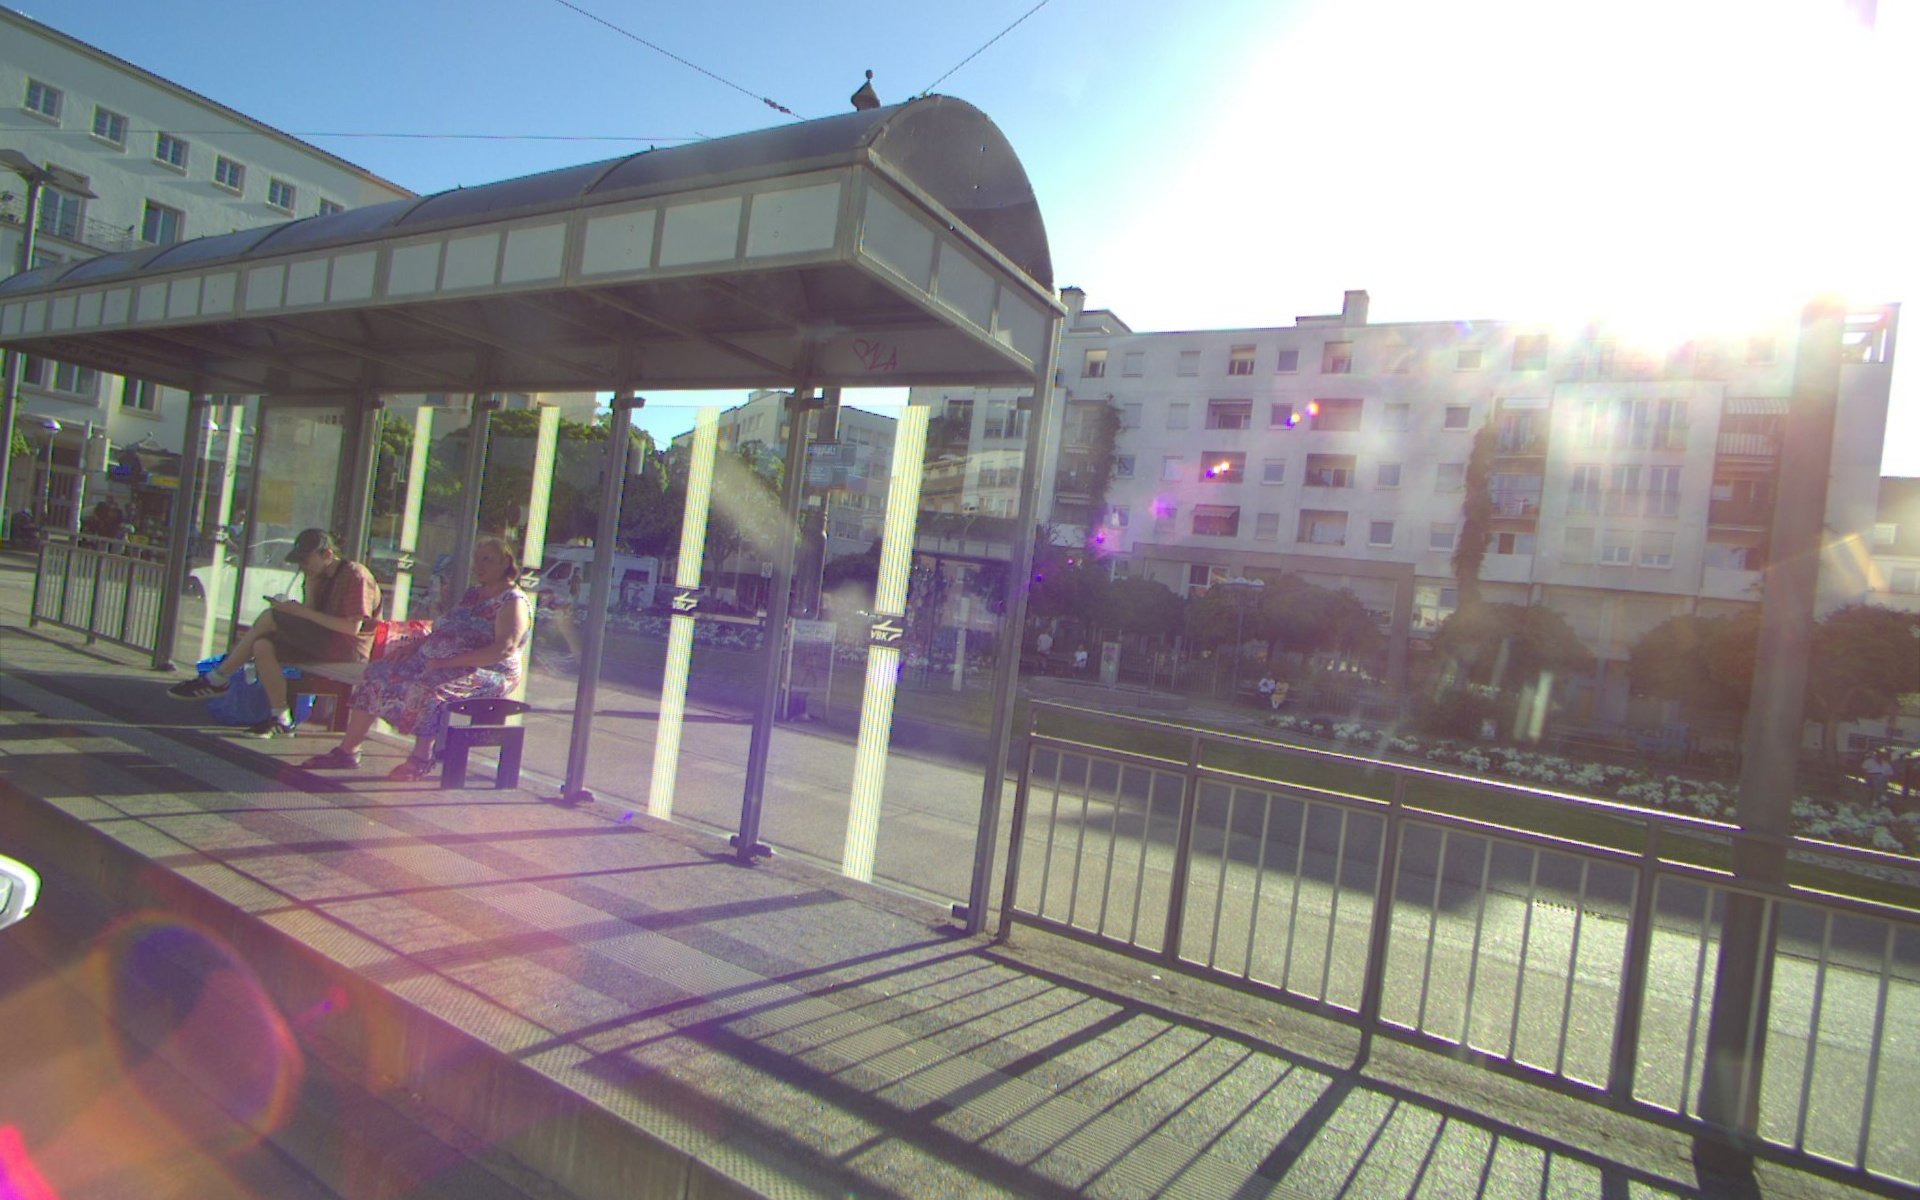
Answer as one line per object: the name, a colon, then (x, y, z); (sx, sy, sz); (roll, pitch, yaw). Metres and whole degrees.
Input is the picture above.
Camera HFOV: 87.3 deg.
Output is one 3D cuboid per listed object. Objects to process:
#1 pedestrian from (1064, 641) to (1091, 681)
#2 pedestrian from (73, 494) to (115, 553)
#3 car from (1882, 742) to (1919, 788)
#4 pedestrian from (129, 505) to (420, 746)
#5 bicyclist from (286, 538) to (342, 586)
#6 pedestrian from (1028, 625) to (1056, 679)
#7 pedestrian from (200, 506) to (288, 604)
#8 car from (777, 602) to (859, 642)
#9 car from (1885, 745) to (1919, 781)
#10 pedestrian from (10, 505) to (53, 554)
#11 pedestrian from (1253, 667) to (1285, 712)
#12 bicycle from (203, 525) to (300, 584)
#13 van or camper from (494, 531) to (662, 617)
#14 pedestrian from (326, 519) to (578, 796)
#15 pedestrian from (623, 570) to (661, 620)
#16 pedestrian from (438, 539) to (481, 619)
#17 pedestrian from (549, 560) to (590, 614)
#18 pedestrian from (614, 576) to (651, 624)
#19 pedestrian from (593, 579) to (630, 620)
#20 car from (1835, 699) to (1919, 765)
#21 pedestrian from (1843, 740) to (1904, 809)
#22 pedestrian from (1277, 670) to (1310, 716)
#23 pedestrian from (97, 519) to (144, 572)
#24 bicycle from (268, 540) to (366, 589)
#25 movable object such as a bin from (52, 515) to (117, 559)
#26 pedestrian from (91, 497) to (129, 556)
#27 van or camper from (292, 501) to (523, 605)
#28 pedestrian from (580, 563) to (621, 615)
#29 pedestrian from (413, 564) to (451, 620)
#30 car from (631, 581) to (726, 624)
pedestrian: (4.071, 2.102, 34.861); (0.718, 1.287, 1.042); (7, 0, 11)
pedestrian: (-29.456, -2.603, 34.213); (0.667, 1.861, 0.785); (7, 0, 35)
car: (36.593, 6.312, 36.797); (3.941, 1.535, 1.993); (7, -1, 38)
pedestrian: (-4.059, 0.171, 6.004); (0.908, 1.238, 1.001); (6, -4, 32)
bicyclist: (-19.199, -1.121, 29.909); (0.937, 1.239, 0.933); (7, -2, 29)
pedestrian: (2.824, 1.778, 34.631); (0.661, 1.745, 1.028); (7, 0, 11)
pedestrian: (-15.189, -0.946, 21.339); (1.110, 1.900, 0.983); (6, -1, 29)
car: (-6.715, 1.078, 47.941); (1.964, 1.503, 4.000); (7, -1, 23)
car: (40.039, 6.826, 40.439); (3.941, 1.303, 1.993); (7, -1, 38)
pedestrian: (-27.956, -2.115, 30.299); (0.736, 1.332, 0.622); (7, 0, -35)
pedestrian: (9.612, 2.768, 31.294); (0.718, 1.287, 0.745); (7, 0, 11)
bicycle: (-23.530, -1.477, 33.484); (0.714, 1.548, 2.391); (7, -3, 31)
van or camper: (-16.495, -1.040, 43.834); (2.340, 2.873, 6.411); (7, -1, 35)
pedestrian: (-2.747, 0.328, 5.499); (0.613, 1.348, 0.861); (6, -4, 31)
pedestrian: (-11.065, -0.185, 35.041); (0.651, 1.605, 0.902); (7, 0, 35)
pedestrian: (-11.718, -0.491, 23.554); (0.520, 1.765, 0.557); (6, -1, 42)
pedestrian: (-13.297, -0.435, 34.289); (0.684, 1.705, 0.902); (7, 0, 35)
pedestrian: (-11.920, 0.011, 36.618); (0.651, 1.604, 0.902); (7, 0, 35)
pedestrian: (-12.050, -0.024, 34.832); (0.595, 1.295, 0.902); (7, -1, 36)
car: (44.013, 6.228, 45.226); (6.285, 2.585, 2.813); (7, -1, 27)
pedestrian: (21.622, 4.117, 23.848); (0.923, 1.428, 1.521); (7, -1, 42)
pedestrian: (10.315, 2.861, 31.141); (0.718, 1.287, 0.745); (7, 0, 11)
pedestrian: (-25.136, -1.635, 30.120); (0.742, 1.427, 0.731); (11, 1, 32)
bicycle: (-19.154, -1.029, 30.036); (0.708, 1.073, 2.322); (7, -3, 29)
movable object such as a bin: (-28.126, -2.020, 32.329); (1.197, 1.167, 1.200); (7, -1, 32)
pedestrian: (-28.617, -2.460, 33.868); (0.649, 1.861, 0.653); (7, 0, 35)
van or camper: (-20.449, -1.621, 37.711); (2.331, 2.780, 7.132); (9, 0, 32)
pedestrian: (-12.019, -0.360, 33.652); (0.651, 1.605, 0.902); (7, 0, 35)
pedestrian: (-11.965, -0.172, 22.788); (0.550, 1.182, 0.469); (6, -2, 40)
car: (-13.891, 0.131, 49.841); (1.974, 1.529, 3.982); (6, -3, 43)
